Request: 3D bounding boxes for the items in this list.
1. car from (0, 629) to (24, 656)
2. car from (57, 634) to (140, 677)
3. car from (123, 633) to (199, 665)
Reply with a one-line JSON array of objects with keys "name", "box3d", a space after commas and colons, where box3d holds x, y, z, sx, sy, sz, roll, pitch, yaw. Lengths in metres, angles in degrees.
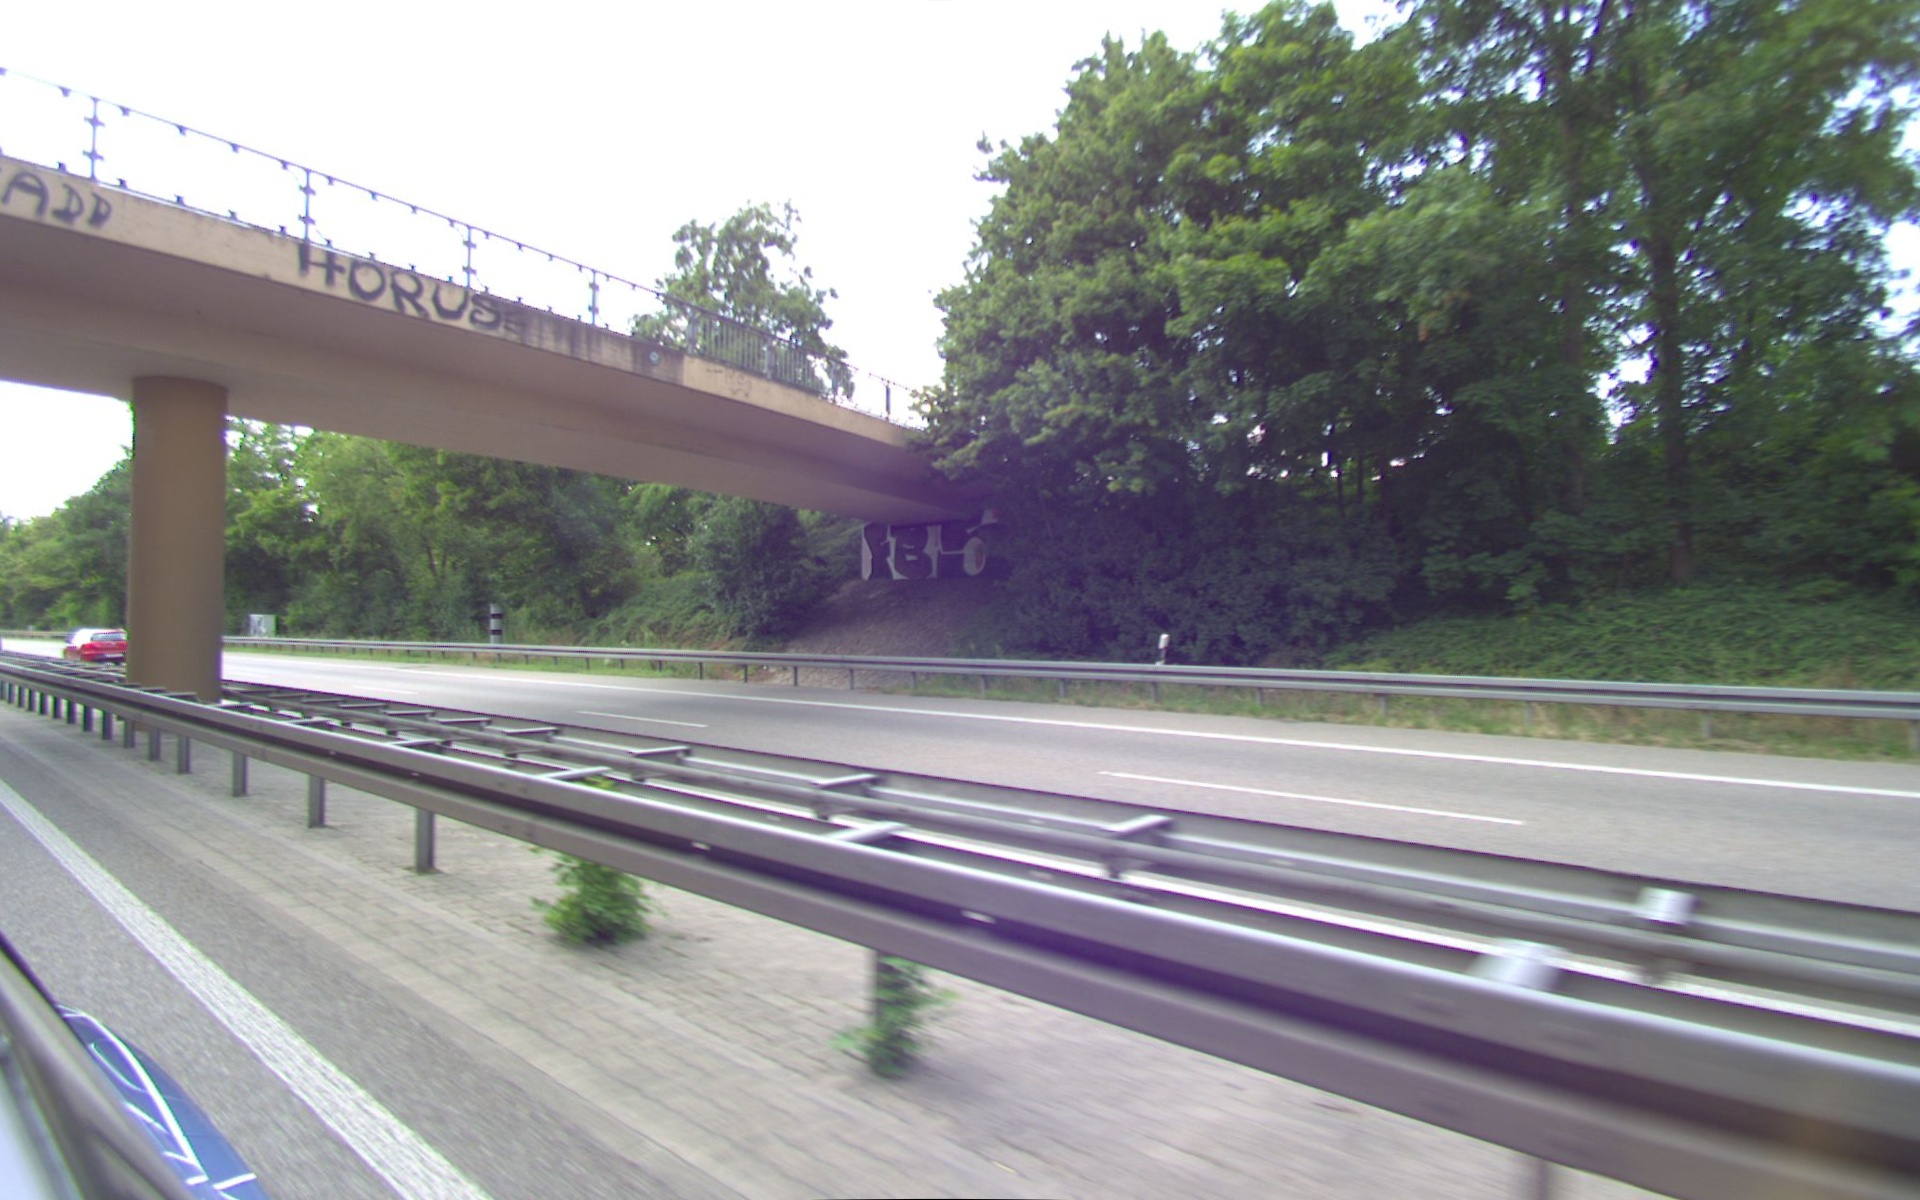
[{"name": "car", "box3d": [-58.787, 2.600, 61.796, 4.561, 1.601, 1.846, -2, -2, 40]}, {"name": "car", "box3d": [-32.485, 2.043, 38.125, 4.433, 1.488, 1.668, -2, -2, 40]}, {"name": "car", "box3d": [-37.282, 2.236, 47.185, 4.801, 1.389, 1.845, -2, -2, 40]}]
